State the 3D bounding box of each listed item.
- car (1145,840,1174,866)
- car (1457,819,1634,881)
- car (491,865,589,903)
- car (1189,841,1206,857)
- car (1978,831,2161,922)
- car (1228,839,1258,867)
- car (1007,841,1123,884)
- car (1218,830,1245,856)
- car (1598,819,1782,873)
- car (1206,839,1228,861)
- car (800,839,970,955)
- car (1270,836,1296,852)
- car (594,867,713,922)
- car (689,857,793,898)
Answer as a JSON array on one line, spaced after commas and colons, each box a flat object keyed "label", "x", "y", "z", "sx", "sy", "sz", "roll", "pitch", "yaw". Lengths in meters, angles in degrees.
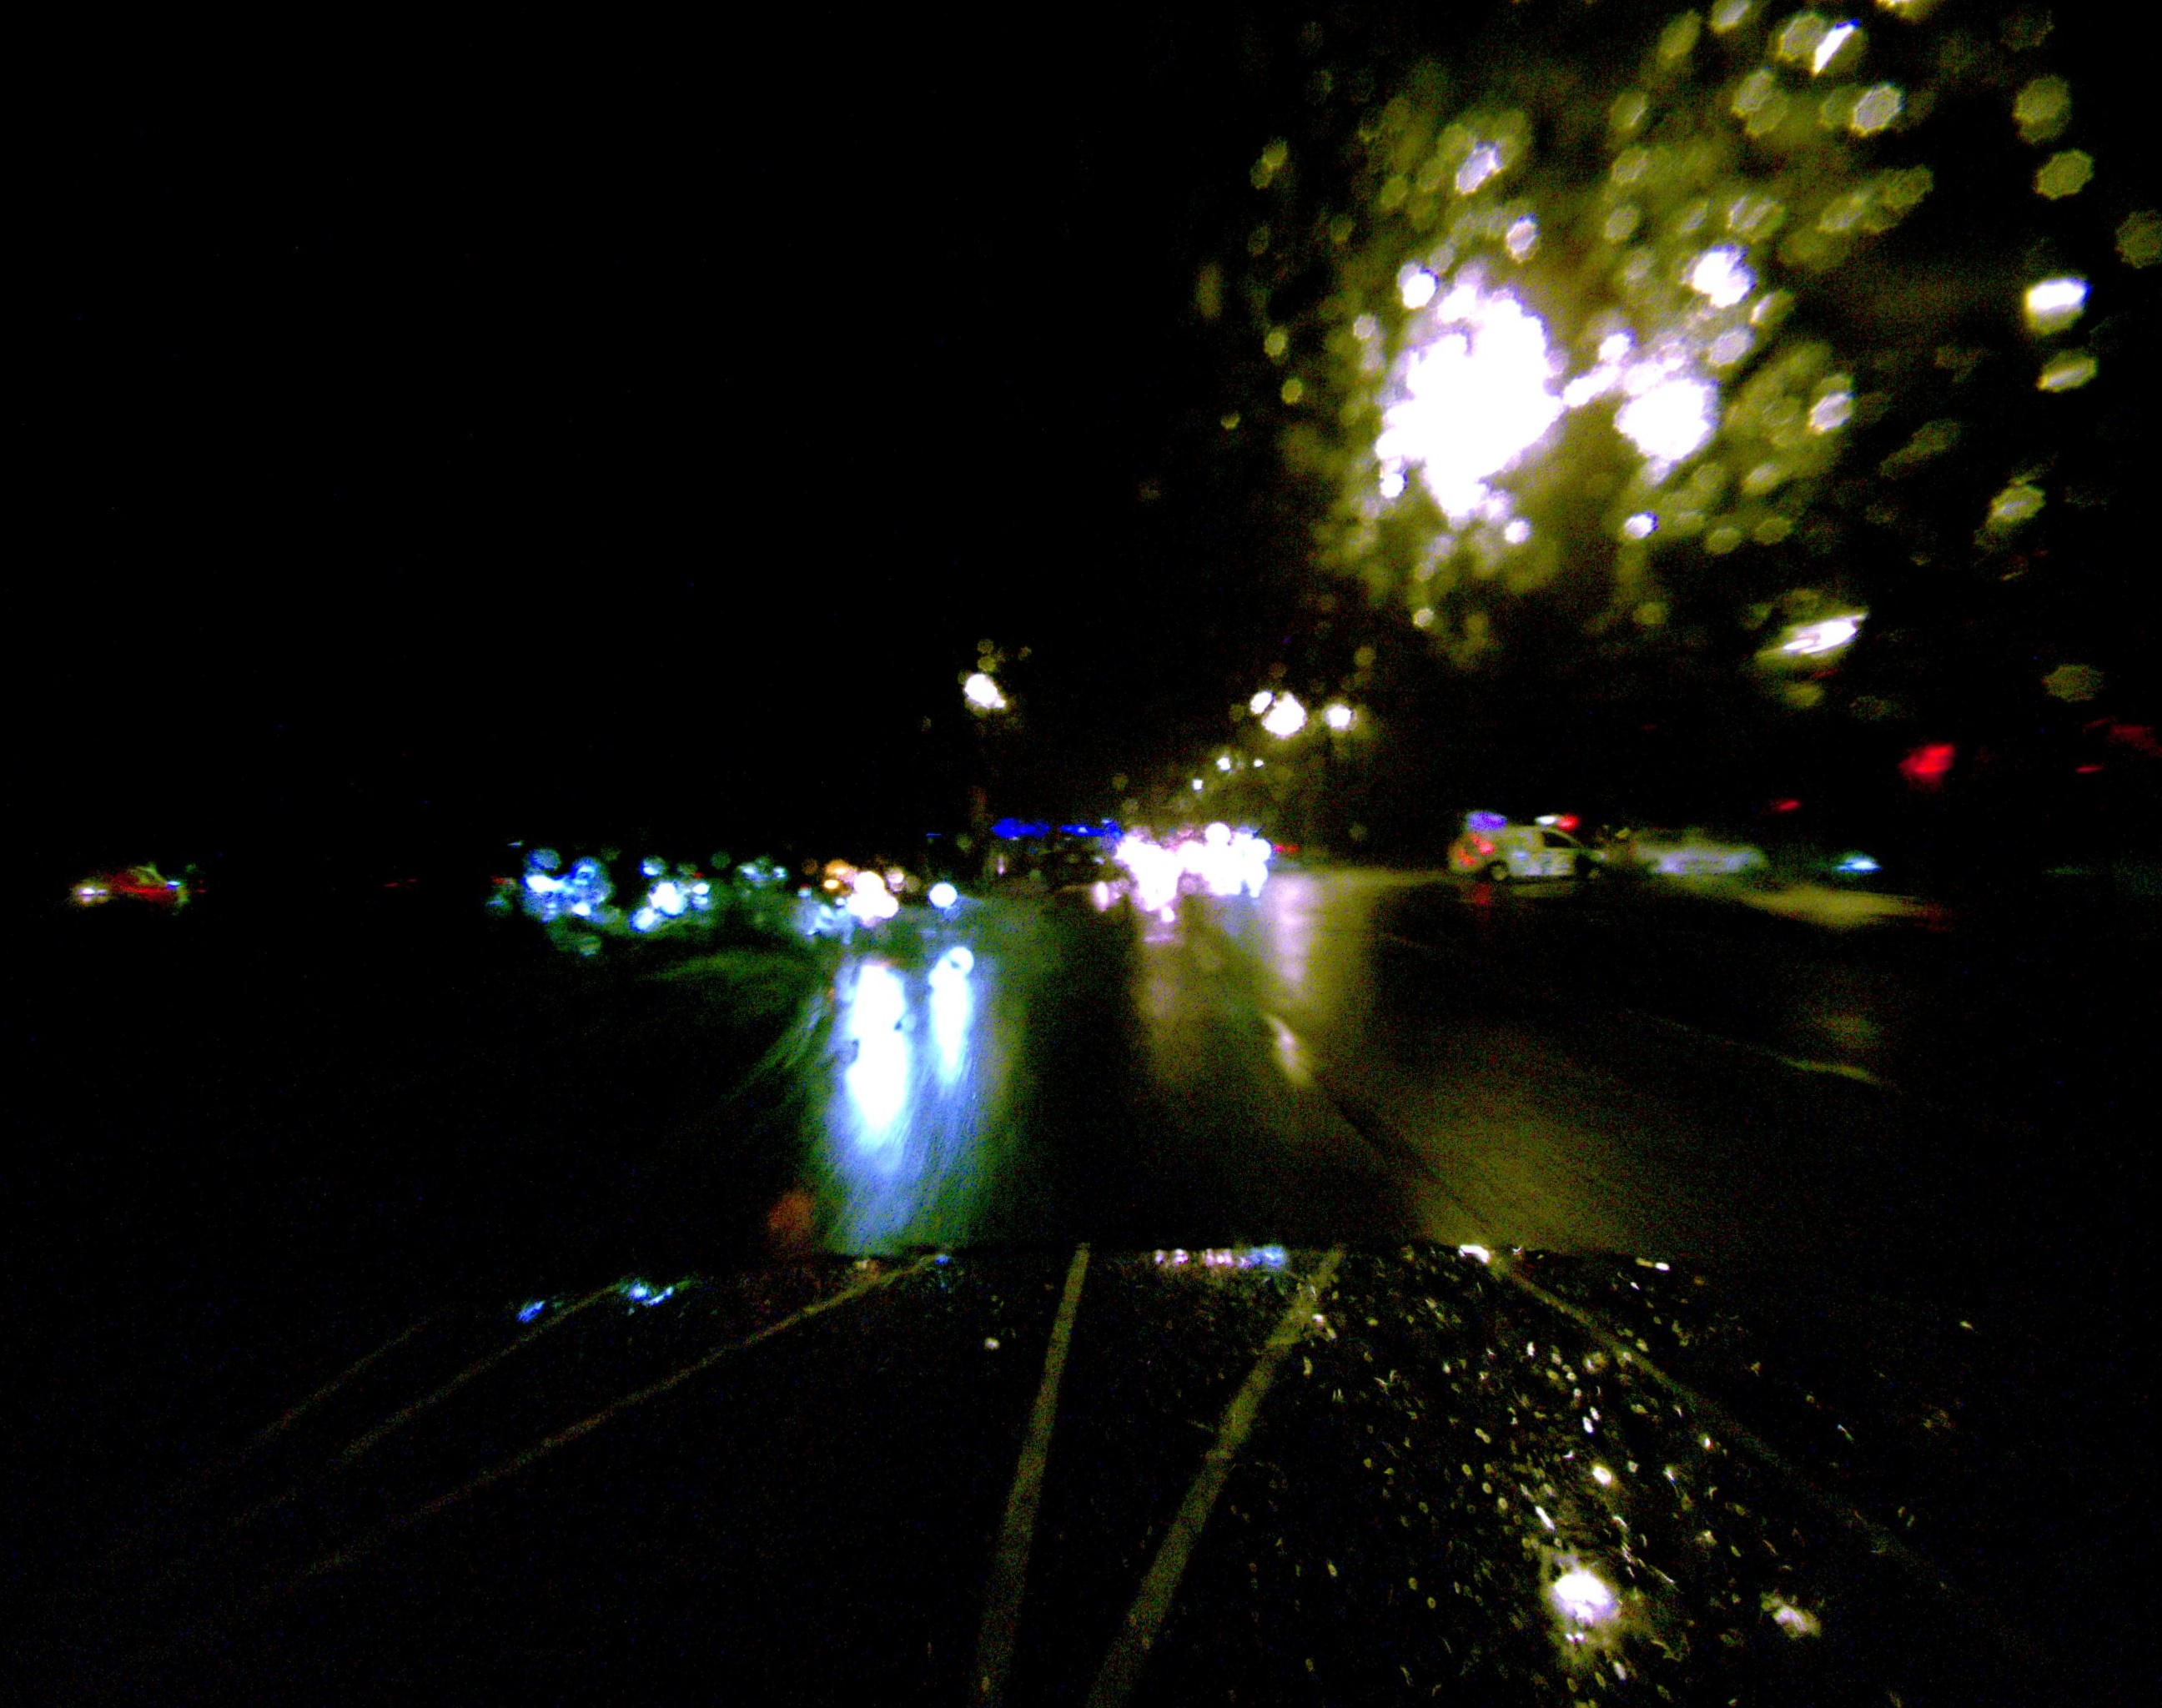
[{"label": "car", "x": 5.717, "y": -0.090, "z": 55.650, "sx": 1.956, "sy": 1.624, "sz": 4.259, "roll": -2, "pitch": 2, "yaw": 5}, {"label": "car", "x": 14.842, "y": -0.148, "z": 24.511, "sx": 4.551, "sy": 1.821, "sz": 1.783, "roll": -1, "pitch": 3, "yaw": 10}, {"label": "car", "x": -24.988, "y": 1.373, "z": 35.079, "sx": 4.165, "sy": 1.437, "sz": 1.683, "roll": -4, "pitch": 2, "yaw": 24}, {"label": "car", "x": 14.200, "y": -0.650, "z": 92.882, "sx": 1.845, "sy": 1.683, "sz": 4.000, "roll": -4, "pitch": 2, "yaw": 6}, {"label": "car", "x": 18.744, "y": 0.384, "z": 12.782, "sx": 1.763, "sy": 1.419, "sz": 4.802, "roll": -2, "pitch": 2, "yaw": 3}, {"label": "car", "x": 11.926, "y": -0.092, "z": 56.061, "sx": 1.665, "sy": 1.844, "sz": 4.146, "roll": -2, "pitch": 2, "yaw": 5}, {"label": "car", "x": -0.625, "y": 0.365, "z": 30.106, "sx": 4.229, "sy": 1.585, "sz": 1.792, "roll": 0, "pitch": -3, "yaw": 18}, {"label": "car", "x": 12.737, "y": -0.933, "z": 64.530, "sx": 1.792, "sy": 2.013, "sz": 4.146, "roll": -2, "pitch": 3, "yaw": 5}, {"label": "car", "x": 21.471, "y": -0.297, "z": 27.005, "sx": 4.714, "sy": 1.783, "sz": 2.001, "roll": -1, "pitch": 2, "yaw": 10}, {"label": "car", "x": 13.114, "y": -0.401, "z": 73.342, "sx": 1.711, "sy": 1.927, "sz": 3.610, "roll": -2, "pitch": 2, "yaw": 5}, {"label": "car", "x": -4.105, "y": 0.764, "z": 15.356, "sx": 2.008, "sy": 1.914, "sz": 4.359, "roll": -3, "pitch": 1, "yaw": -32}, {"label": "car", "x": 21.636, "y": -1.138, "z": 81.590, "sx": 1.834, "sy": 1.466, "sz": 4.036, "roll": -3, "pitch": 3, "yaw": 3}, {"label": "car", "x": -14.037, "y": 1.308, "z": 24.891, "sx": 3.977, "sy": 1.524, "sz": 1.691, "roll": -2, "pitch": 3, "yaw": 35}, {"label": "car", "x": -15.769, "y": 1.073, "z": 35.243, "sx": 4.121, "sy": 1.696, "sz": 1.851, "roll": -2, "pitch": 1, "yaw": 17}]
